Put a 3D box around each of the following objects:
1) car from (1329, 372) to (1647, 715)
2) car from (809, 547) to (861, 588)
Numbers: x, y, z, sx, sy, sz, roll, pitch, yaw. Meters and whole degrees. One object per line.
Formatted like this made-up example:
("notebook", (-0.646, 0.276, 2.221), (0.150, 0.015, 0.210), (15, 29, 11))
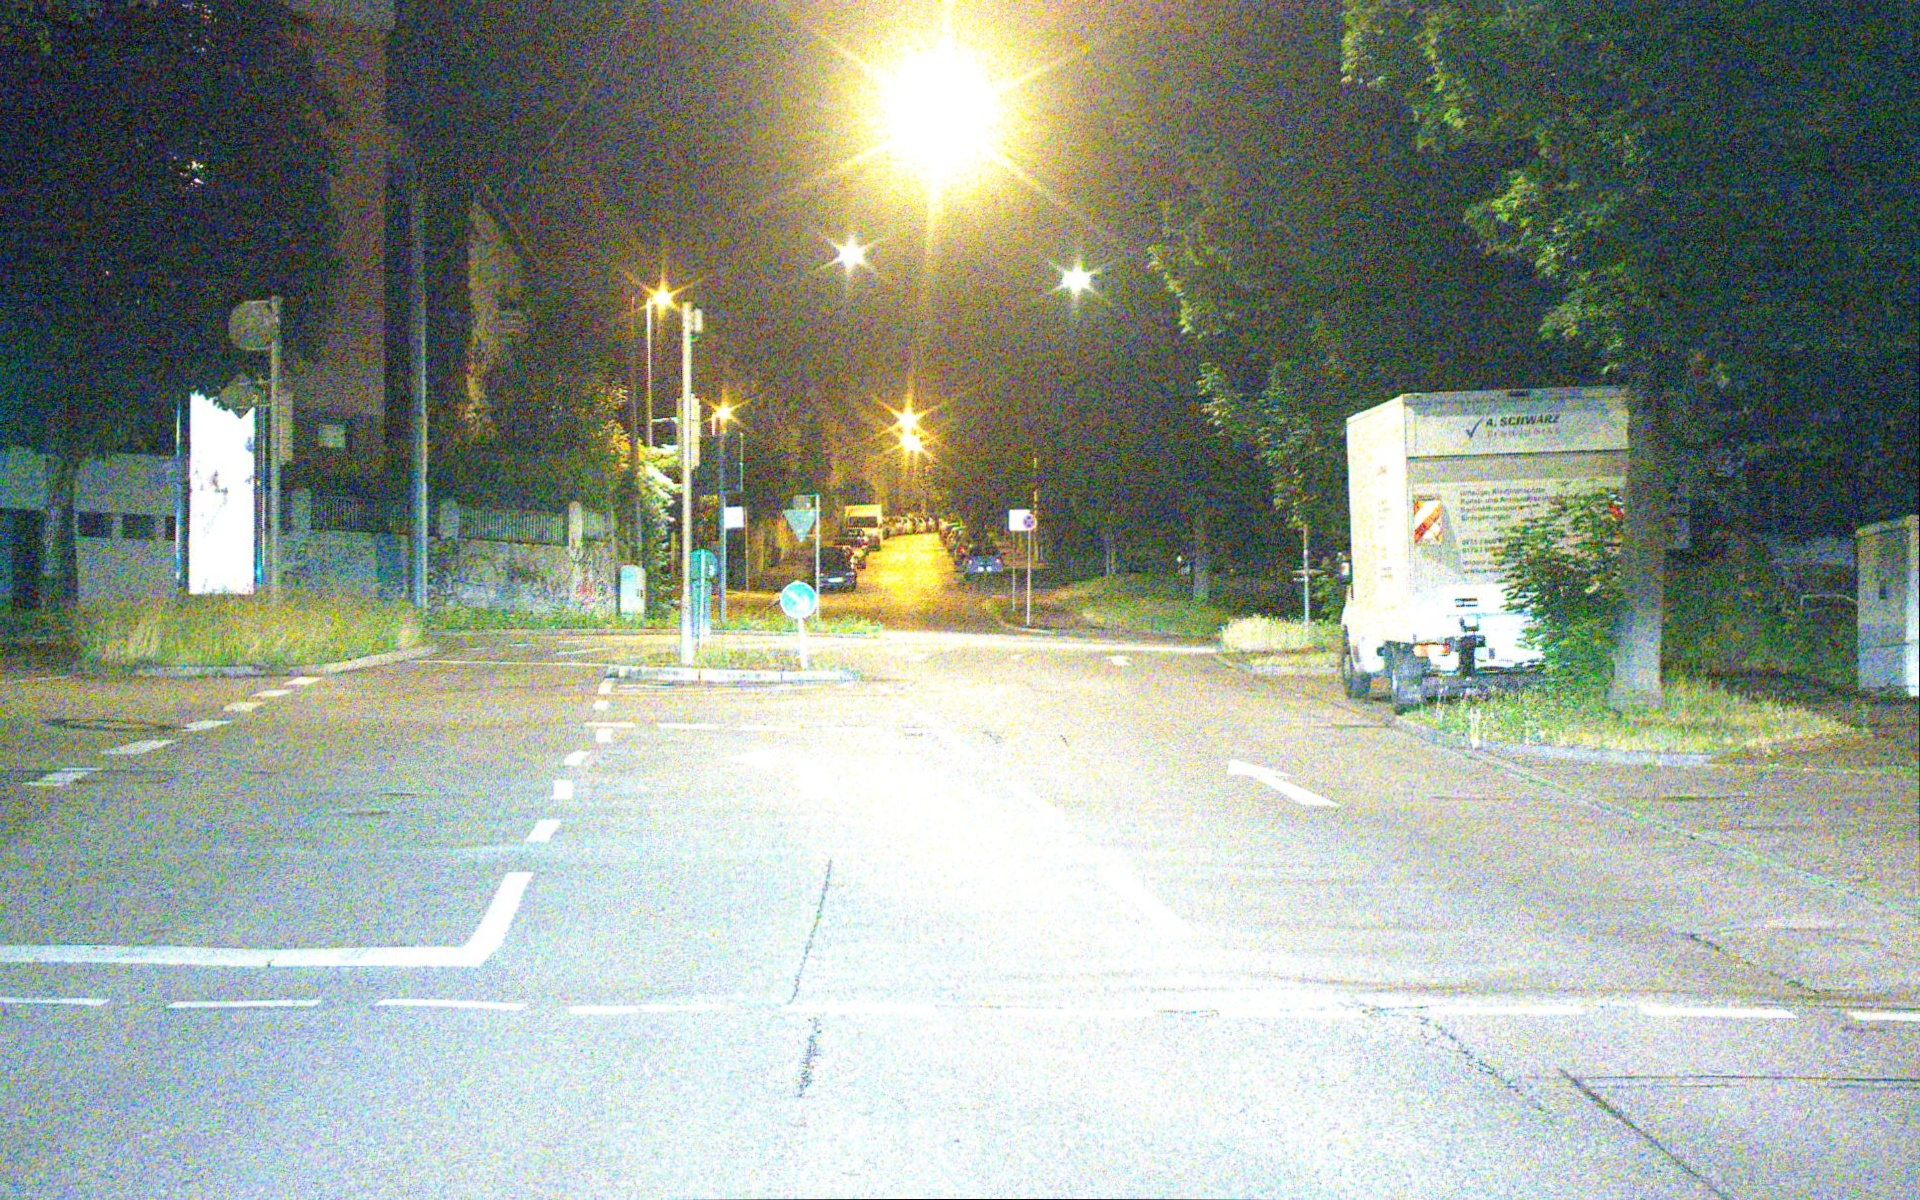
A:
("car", (5.118, -0.548, 34.228), (2.297, 3.082, 5.840), (-1, 1, 1))
("car", (-4.857, -1.288, 134.268), (1.908, 1.552, 3.904), (1, 1, -1))
